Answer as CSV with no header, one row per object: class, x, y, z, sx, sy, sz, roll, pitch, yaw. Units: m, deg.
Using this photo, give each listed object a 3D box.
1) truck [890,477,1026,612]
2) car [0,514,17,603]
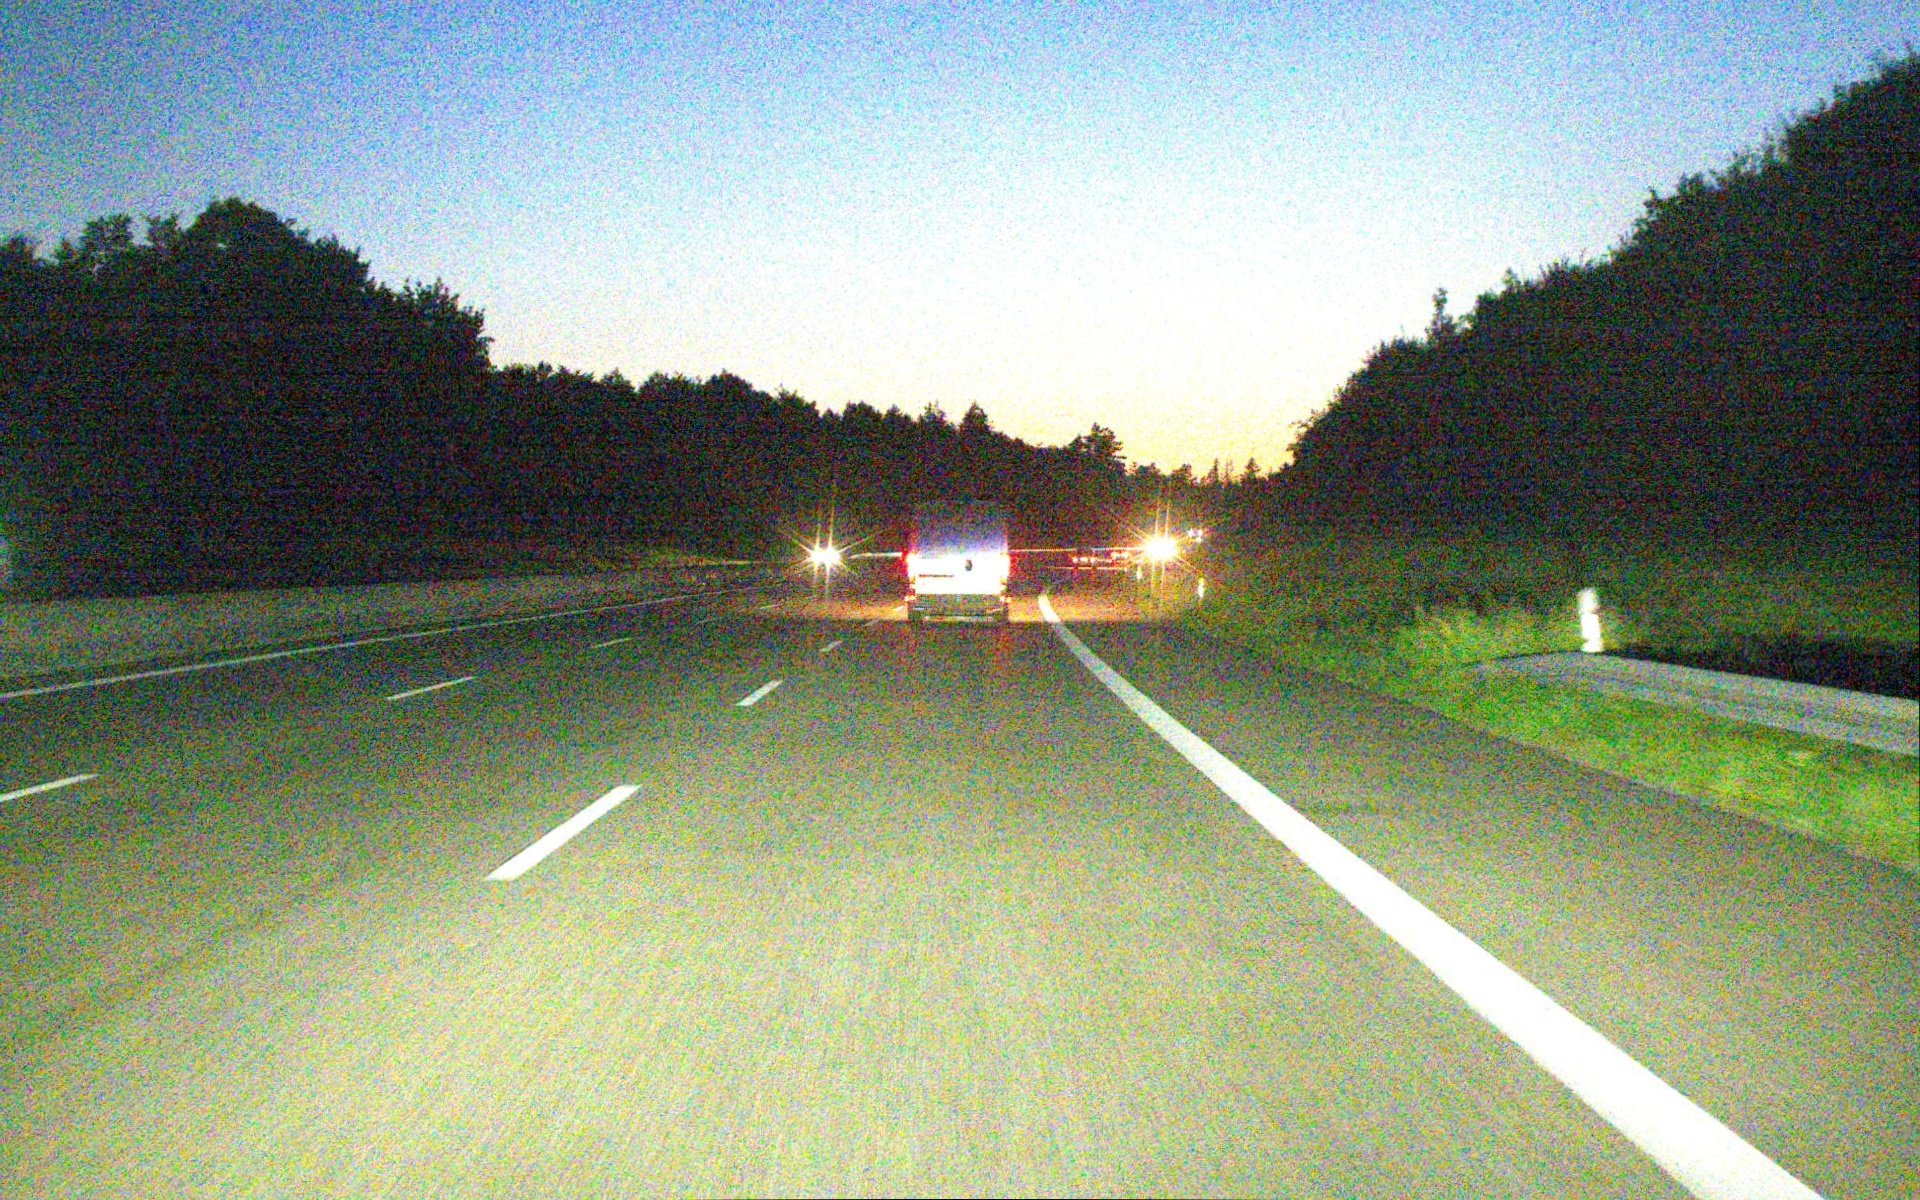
truck,-0.119,-1.121,71.664,2.630,2.615,8.685,1,0,-1
car,-22.665,-0.936,76.260,2.026,2.007,5.187,1,0,0
